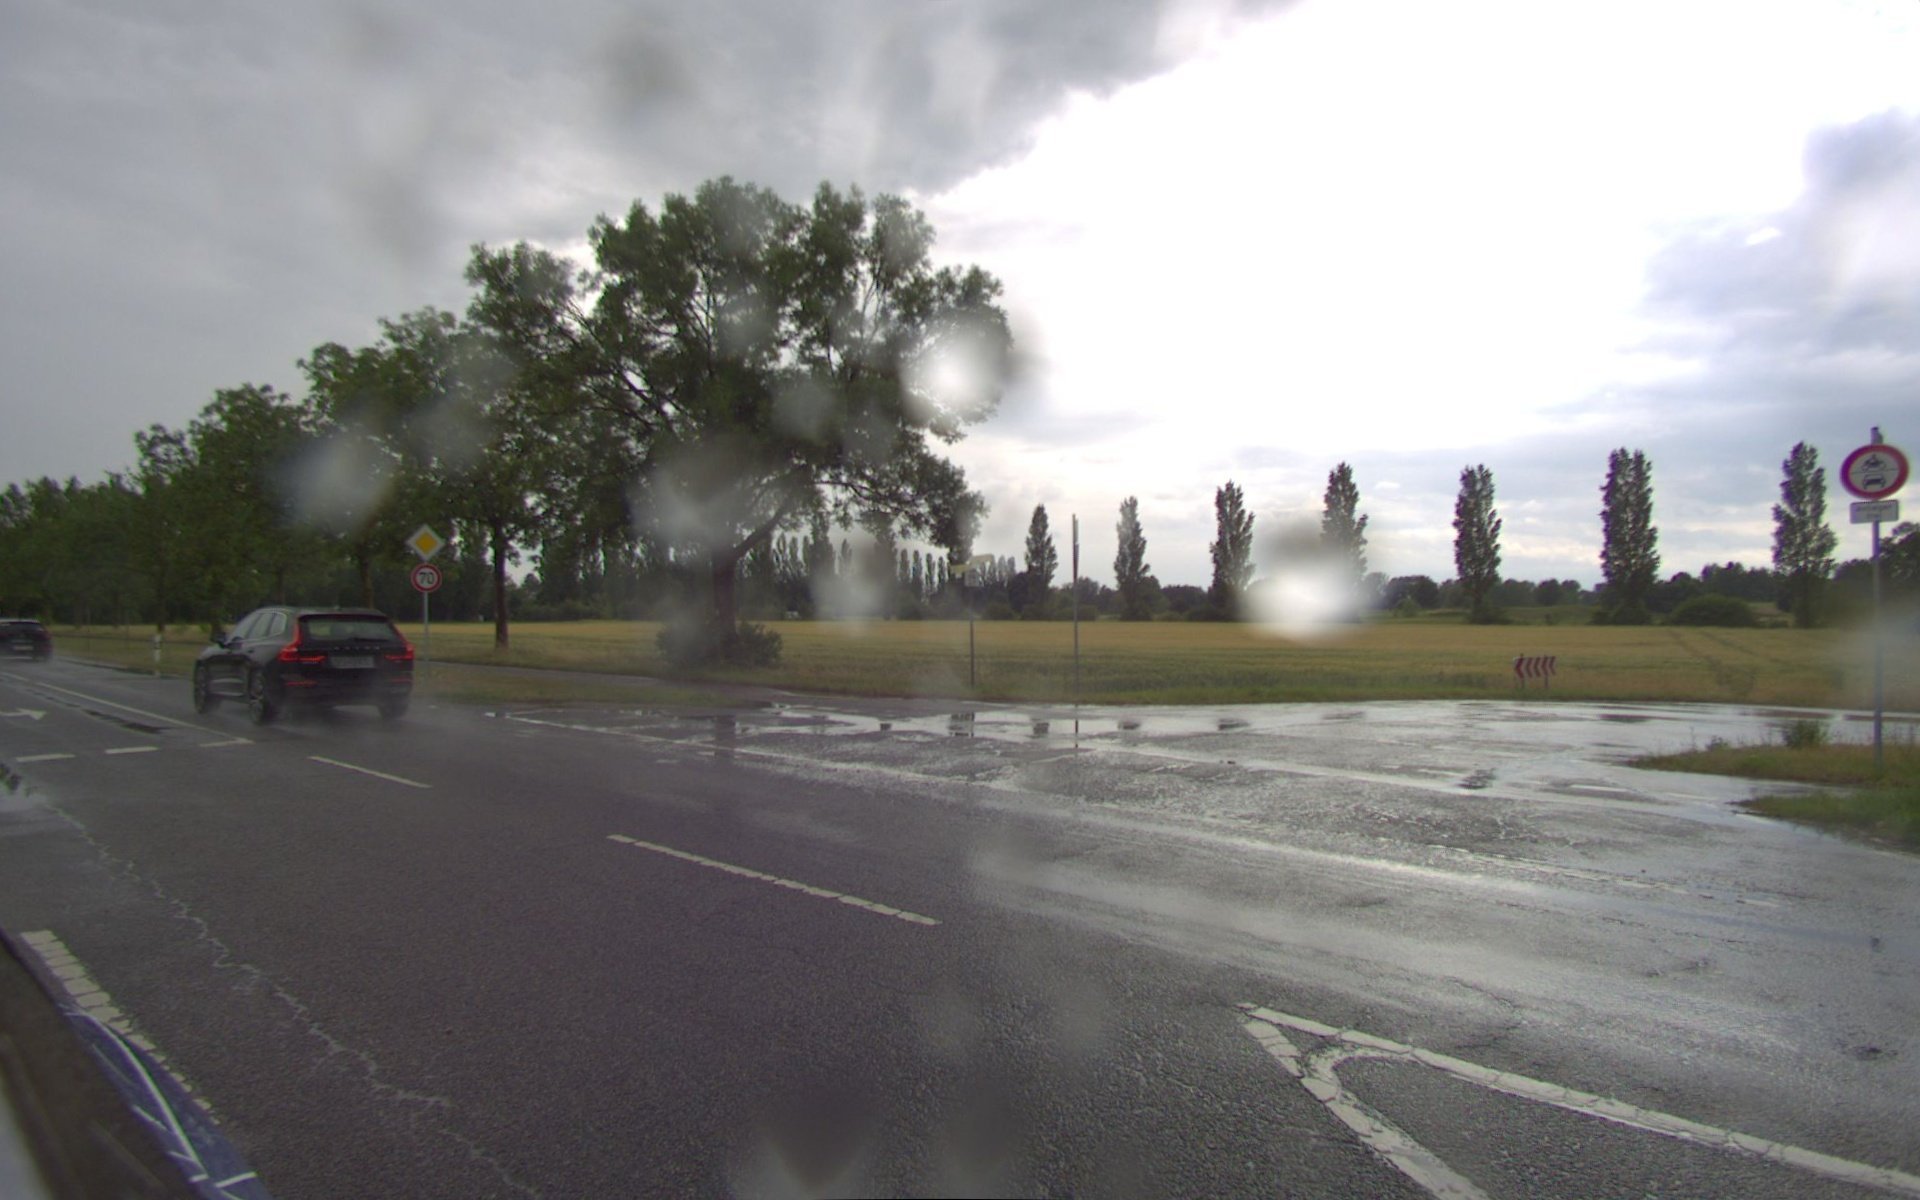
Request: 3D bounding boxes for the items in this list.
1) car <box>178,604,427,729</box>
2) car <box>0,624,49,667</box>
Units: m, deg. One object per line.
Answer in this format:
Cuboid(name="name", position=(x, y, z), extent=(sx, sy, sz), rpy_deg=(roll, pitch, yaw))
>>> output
Cuboid(name="car", position=(-9.883, 0.912, 15.071), extent=(4.440, 1.592, 1.924), rpy_deg=(-1, -3, 41))
Cuboid(name="car", position=(-32.780, 1.548, 34.863), extent=(3.813, 1.416, 1.693), rpy_deg=(-1, -2, 42))
